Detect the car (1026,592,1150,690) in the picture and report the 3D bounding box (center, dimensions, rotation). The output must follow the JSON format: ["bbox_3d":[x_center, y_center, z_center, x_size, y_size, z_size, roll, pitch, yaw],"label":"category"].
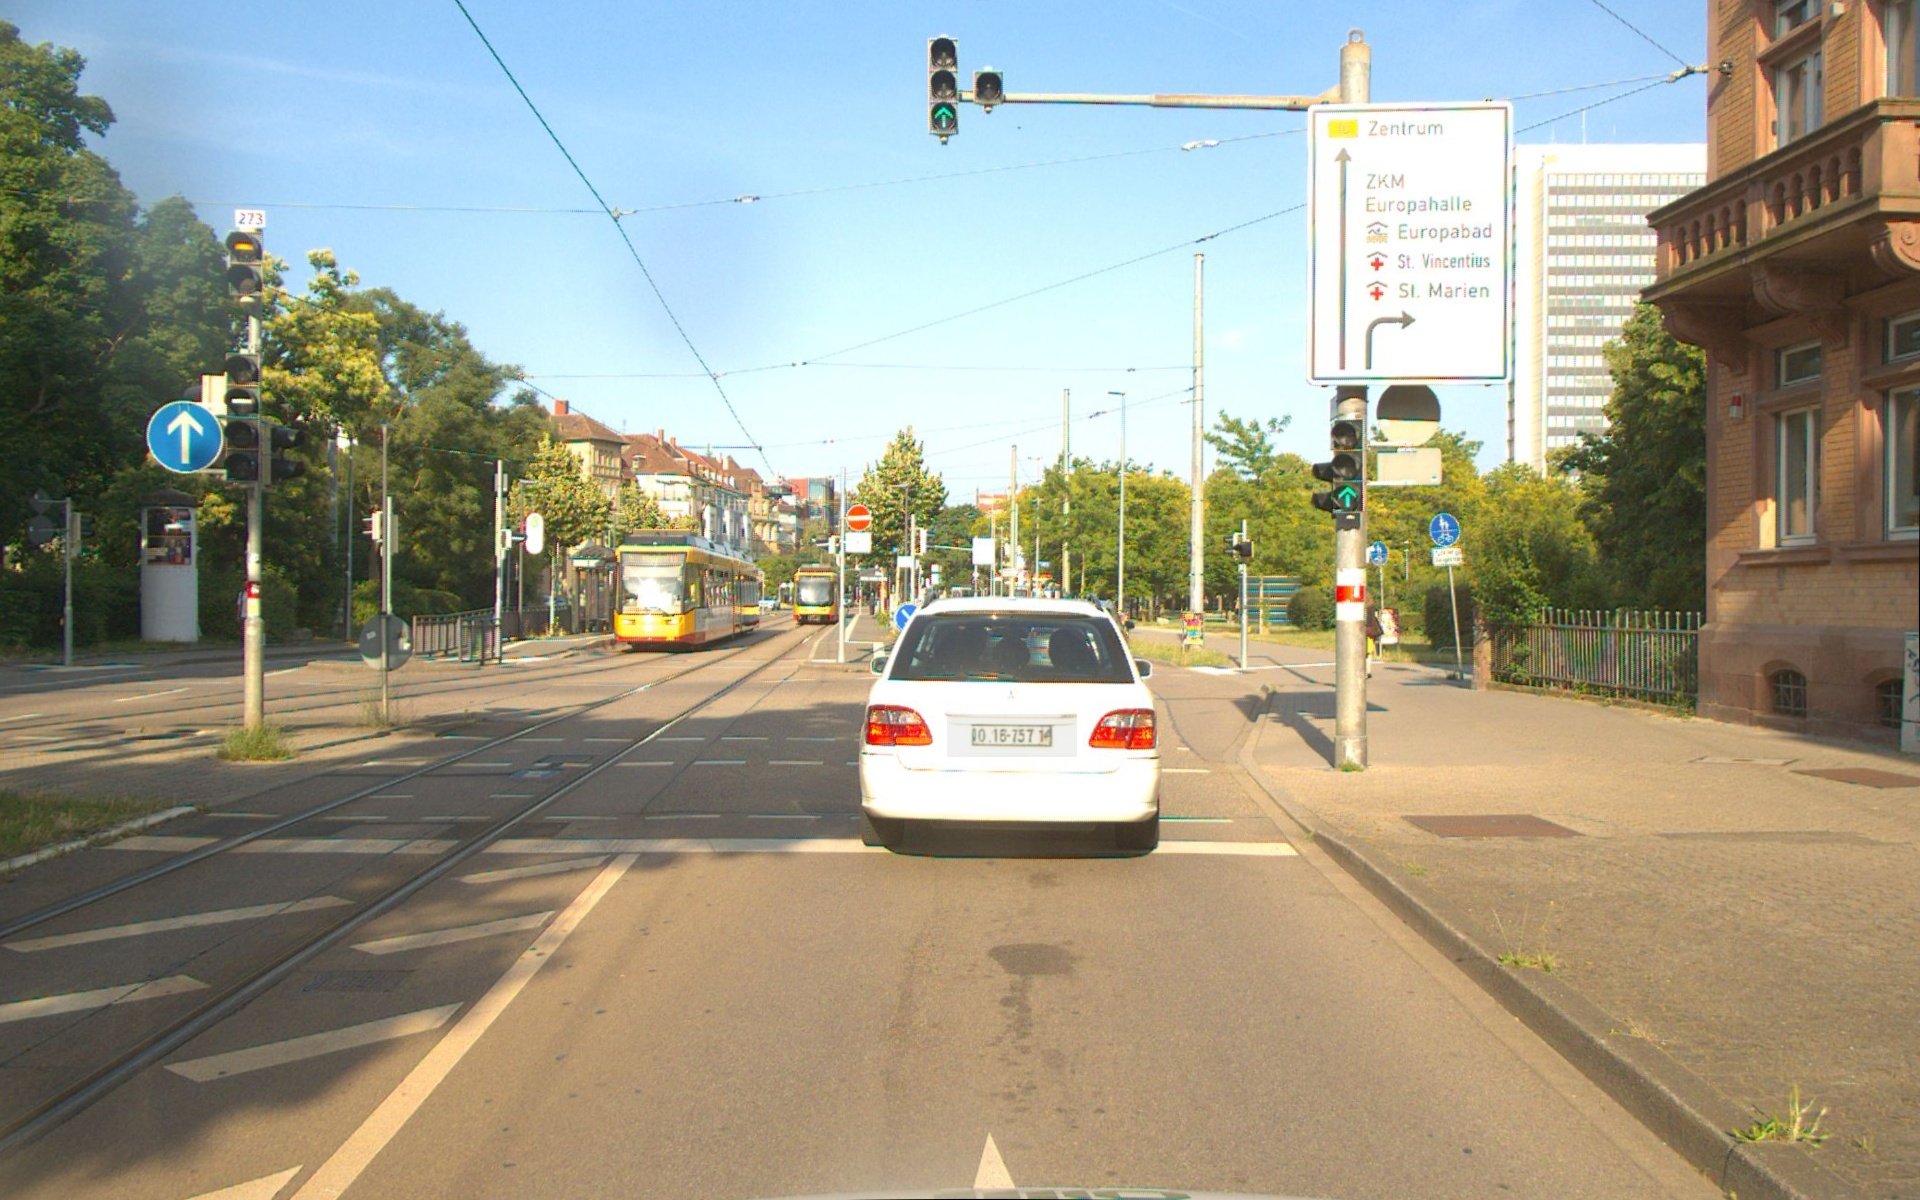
[{"bbox_3d":[2.258,0.694,30.239,1.991,1.633,4.000,1,0,1],"label":"car"}]

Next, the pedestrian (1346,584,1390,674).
[{"bbox_3d":[8.042,0.565,32.589,0.602,1.721,0.548,-4,0,1],"label":"pedestrian"}]

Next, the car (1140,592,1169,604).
[{"bbox_3d":[27.837,-0.251,236.757,3.901,1.680,2.002,0,0,11],"label":"car"}]

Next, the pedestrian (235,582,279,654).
[{"bbox_3d":[-19.231,0.494,45.254,0.986,1.943,0.705,1,0,-16],"label":"pedestrian"}]

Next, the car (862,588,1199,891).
[{"bbox_3d":[0.331,0.712,10.646,1.722,1.530,3.999,-2,0,-1],"label":"car"}]

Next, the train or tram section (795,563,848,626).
[{"bbox_3d":[-8.379,-0.395,101.252,2.793,3.540,13.192,1,0,-3],"label":"train or tram section"}]

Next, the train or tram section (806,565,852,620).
[{"bbox_3d":[-8.931,-0.555,114.208,2.793,3.540,13.191,1,0,-3],"label":"train or tram section"}]

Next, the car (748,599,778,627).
[{"bbox_3d":[-20.612,1.290,173.153,2.545,2.783,7.463,1,0,-3],"label":"car"}]

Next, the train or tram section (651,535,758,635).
[{"bbox_3d":[-10.098,-0.584,66.913,3.100,3.540,14.459,1,0,-4],"label":"train or tram section"}]

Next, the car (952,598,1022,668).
[{"bbox_3d":[0.714,0.827,43.685,1.750,1.719,4.001,1,0,1],"label":"car"}]

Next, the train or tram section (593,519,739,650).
[{"bbox_3d":[-9.004,-0.471,52.499,3.100,3.540,14.519,1,0,-4],"label":"train or tram section"}]
